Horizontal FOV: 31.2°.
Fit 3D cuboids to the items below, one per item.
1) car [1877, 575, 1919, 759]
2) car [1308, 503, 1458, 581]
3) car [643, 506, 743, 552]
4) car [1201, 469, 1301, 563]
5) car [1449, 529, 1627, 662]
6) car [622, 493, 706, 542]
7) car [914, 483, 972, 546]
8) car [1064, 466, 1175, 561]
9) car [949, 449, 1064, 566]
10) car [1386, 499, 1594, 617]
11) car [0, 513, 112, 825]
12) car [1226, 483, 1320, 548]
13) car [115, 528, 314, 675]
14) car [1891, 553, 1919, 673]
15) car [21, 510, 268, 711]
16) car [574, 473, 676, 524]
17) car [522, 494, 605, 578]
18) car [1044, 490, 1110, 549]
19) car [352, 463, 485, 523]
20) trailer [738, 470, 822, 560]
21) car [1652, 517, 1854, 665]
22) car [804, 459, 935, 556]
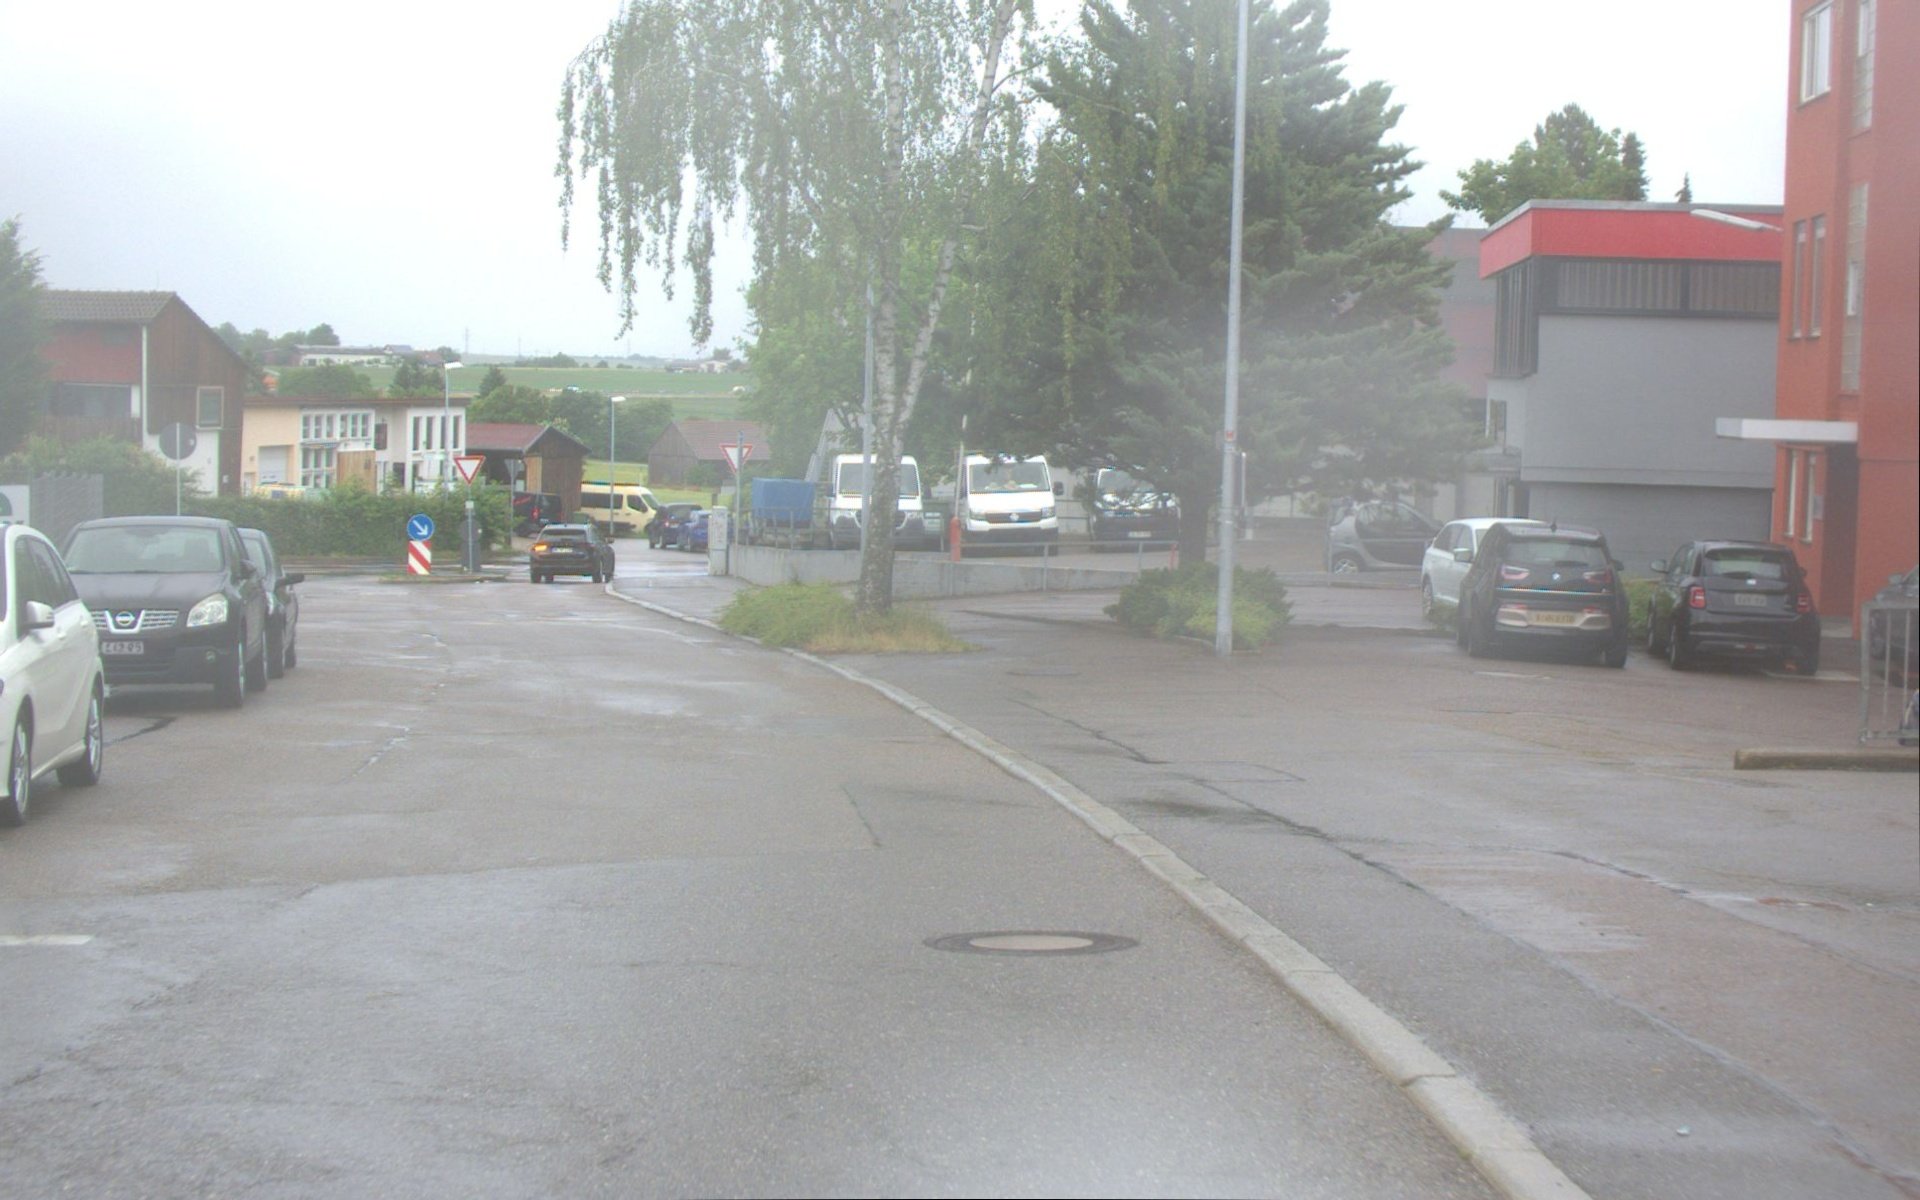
[{"bbox_3d":[7.945,0.468,22.684,3.401,1.159,1.791,2,1,7],"label":"car"},{"bbox_3d":[7.714,-1.064,62.780,2.548,1.347,1.242,1,1,0],"label":"car"},{"bbox_3d":[-9.515,-2.524,122.278,2.460,1.534,4.001,1,0,-22],"label":"car"},{"bbox_3d":[6.503,-1.855,77.125,1.781,2.007,3.633,1,0,-2],"label":"car"},{"bbox_3d":[6.787,-0.053,40.677,1.697,1.470,3.999,1,0,4],"label":"car"},{"bbox_3d":[-11.043,-3.053,127.986,1.993,1.698,4.001,1,0,-22],"label":"car"},{"bbox_3d":[-0.412,-2.016,81.959,1.290,1.419,2.546,1,0,-2],"label":"car"},{"bbox_3d":[3.535,-1.912,76.957,2.145,2.007,3.940,1,0,-2],"label":"car"},{"bbox_3d":[0.999,-2.010,76.222,2.192,2.451,4.000,1,0,-4],"label":"car"},{"bbox_3d":[7.355,-0.572,48.129,2.065,1.547,4.000,1,0,-3],"label":"car"},{"bbox_3d":[-5.749,0.317,18.558,1.769,1.507,4.146,0,0,-7],"label":"car"},{"bbox_3d":[7.517,-2.019,82.890,1.636,1.448,3.512,1,0,-5],"label":"car"},{"bbox_3d":[-7.603,0.005,35.351,1.631,1.389,4.001,1,0,-7],"label":"car"},{"bbox_3d":[12.152,0.172,40.139,1.729,1.417,3.999,1,0,4],"label":"car"},{"bbox_3d":[-6.989,0.032,29.789,1.700,1.604,4.001,0,2,-8],"label":"car"},{"bbox_3d":[-15.274,-4.620,156.845,4.242,2.218,1.999,1,0,11],"label":"car"},{"bbox_3d":[-9.950,-1.589,86.506,1.869,2.022,4.001,1,0,-4],"label":"car"},{"bbox_3d":[2.806,-1.925,82.687,1.398,1.321,2.701,1,0,-2],"label":"car"},{"bbox_3d":[-18.145,-3.585,115.312,3.988,1.875,2.000,1,1,5],"label":"car"},{"bbox_3d":[-4.203,-1.987,80.254,1.852,2.007,4.001,1,1,-3],"label":"trailer"},{"bbox_3d":[9.426,-0.106,41.127,1.739,1.648,3.999,1,0,4],"label":"car"},{"bbox_3d":[-2.035,-2.019,76.046,2.264,2.007,4.001,1,0,-11],"label":"car"}]
